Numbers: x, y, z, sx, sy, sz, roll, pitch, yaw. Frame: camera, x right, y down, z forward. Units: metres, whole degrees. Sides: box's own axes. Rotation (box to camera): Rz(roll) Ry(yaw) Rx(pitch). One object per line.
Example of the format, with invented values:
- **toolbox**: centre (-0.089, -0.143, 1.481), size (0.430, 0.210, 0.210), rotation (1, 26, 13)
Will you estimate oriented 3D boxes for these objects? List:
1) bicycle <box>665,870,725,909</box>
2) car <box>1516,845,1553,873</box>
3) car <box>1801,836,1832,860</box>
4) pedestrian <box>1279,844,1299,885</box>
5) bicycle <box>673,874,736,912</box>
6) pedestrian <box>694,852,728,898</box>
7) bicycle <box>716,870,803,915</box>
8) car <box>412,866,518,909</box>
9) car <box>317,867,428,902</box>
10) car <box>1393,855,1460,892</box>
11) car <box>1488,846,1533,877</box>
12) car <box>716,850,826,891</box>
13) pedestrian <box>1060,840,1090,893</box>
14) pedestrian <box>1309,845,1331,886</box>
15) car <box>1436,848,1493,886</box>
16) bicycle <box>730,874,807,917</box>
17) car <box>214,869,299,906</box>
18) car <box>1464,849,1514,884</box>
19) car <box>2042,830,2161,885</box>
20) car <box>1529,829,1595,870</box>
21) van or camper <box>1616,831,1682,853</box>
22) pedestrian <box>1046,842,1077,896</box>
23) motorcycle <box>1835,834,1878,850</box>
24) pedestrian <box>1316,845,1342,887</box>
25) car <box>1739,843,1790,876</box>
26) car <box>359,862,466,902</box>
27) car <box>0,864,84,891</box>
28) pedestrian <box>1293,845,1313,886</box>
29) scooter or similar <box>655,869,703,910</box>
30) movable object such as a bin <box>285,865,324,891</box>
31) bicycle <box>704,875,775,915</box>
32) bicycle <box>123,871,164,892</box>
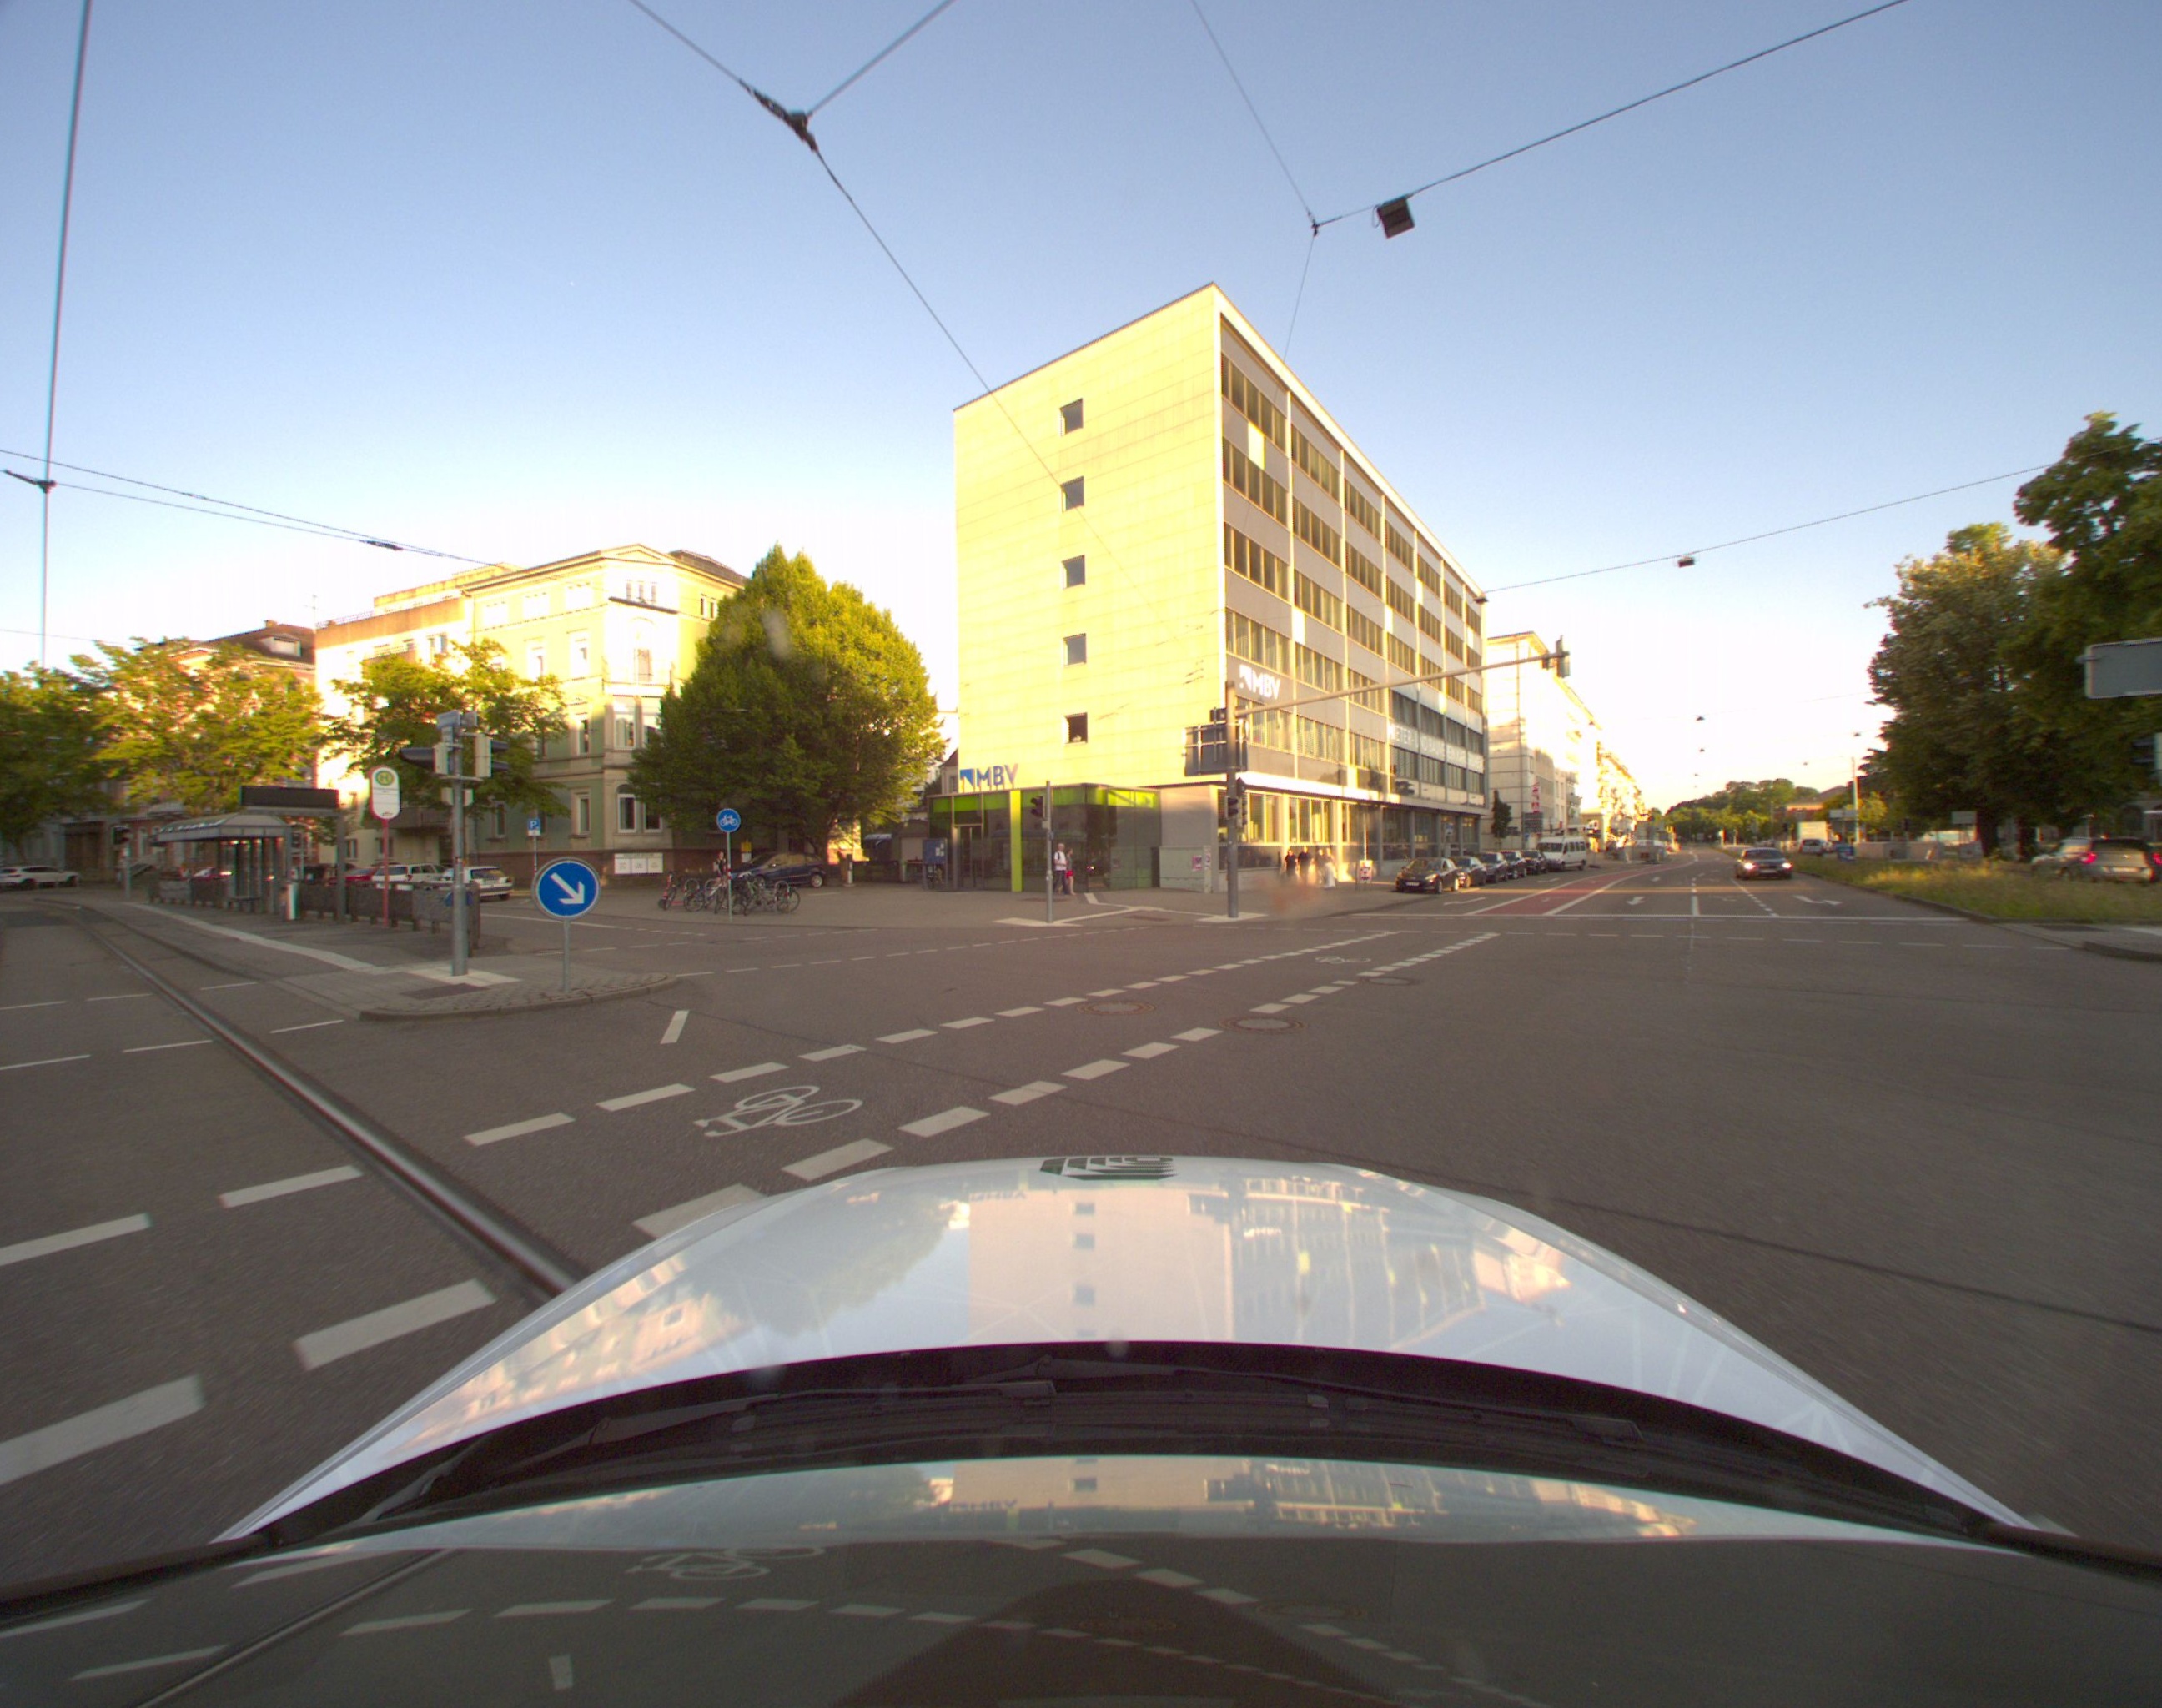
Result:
- **bicycle**: centre (-12.139, 1.097, 25.651), size (0.734, 1.163, 1.541), rotation (-1, 0, 39)
- **car**: centre (29.354, 0.278, 52.633), size (1.485, 1.664, 3.893), rotation (3, 3, 37)
- **car**: centre (69.358, -0.579, 76.813), size (1.865, 2.238, 3.935), rotation (-1, 0, 39)
- **pedestrian**: centre (9.071, 0.463, 35.497), size (0.646, 1.768, 0.650), rotation (-1, 0, 33)
- **bicycle**: centre (-11.486, 1.178, 24.889), size (0.734, 1.074, 1.566), rotation (-1, 0, 39)
- **pedestrian**: centre (-14.487, 0.810, 31.873), size (0.977, 1.768, 0.712), rotation (-1, 0, 22)
- **bicycle**: centre (-9.266, 1.091, 23.567), size (0.734, 1.132, 2.252), rotation (-1, 1, 39)
- **car**: centre (-24.770, 1.321, 32.746), size (3.950, 1.552, 1.696), rotation (-1, 3, 26)
- **car**: centre (-32.654, 1.376, 37.715), size (1.636, 1.454, 4.204), rotation (-1, 0, -4)
- **car**: centre (14.674, 0.815, 34.499), size (1.676, 1.411, 3.893), rotation (-2, -1, 37)
- **car**: centre (25.313, 0.422, 47.961), size (1.677, 1.664, 3.893), rotation (3, 3, 37)
- **car**: centre (-13.100, 0.641, 34.592), size (1.780, 1.574, 4.022), rotation (0, 1, 37)
- **pedestrian**: centre (-0.203, 0.423, 27.822), size (0.737, 1.768, 0.713), rotation (-1, 0, 38)
- **pedestrian**: centre (10.442, 0.491, 35.527), size (0.731, 1.768, 0.677), rotation (-1, 0, 33)
- **car**: centre (18.519, 0.574, 39.266), size (1.677, 1.664, 3.893), rotation (3, 3, 37)
- **bicycle**: centre (-8.684, 1.127, 22.654), size (1.874, 1.074, 0.736), rotation (-2, 0, -35)
- **car**: centre (-41.403, 1.666, 40.896), size (4.037, 1.631, 1.760), rotation (-1, 2, 27)
- **car**: centre (21.854, 0.620, 43.554), size (1.677, 1.664, 3.893), rotation (3, 3, 37)
- **car**: centre (32.258, 0.052, 25.853), size (1.677, 1.605, 4.115), rotation (1, 1, 42)
- **car**: centre (33.928, -0.329, 57.333), size (5.885, 2.628, 2.218), rotation (0, 4, -42)
- **van or camper**: centre (62.441, -1.299, 89.618), size (5.477, 2.167, 2.249), rotation (-2, -1, 7)
- **pedestrian**: centre (-0.650, 0.483, 27.252), size (0.726, 1.768, 0.713), rotation (-1, 0, 38)
- **motorcycle**: centre (88.672, -1.379, 93.177), size (3.453, 1.755, 0.931), rotation (-1, 0, 41)
- **pedestrian**: centre (10.490, 0.501, 34.466), size (0.832, 1.768, 0.791), rotation (-1, 0, 33)
- **car**: centre (31.672, 0.225, 37.761), size (1.677, 1.420, 4.200), rotation (-1, 0, 40)
- **car**: centre (-30.116, 1.214, 36.866), size (1.714, 1.725, 4.200), rotation (0, 0, -7)
- **car**: centre (-70.801, 1.559, 55.227), size (1.666, 1.627, 3.947), rotation (-2, 1, -6)
- **pedestrian**: centre (9.783, 0.515, 35.894), size (0.646, 1.768, 0.650), rotation (-1, 0, 33)
- **scooter or similar**: centre (-13.039, 1.140, 26.453), size (0.583, 1.225, 1.211), rotation (-1, 2, 38)
- **movable object such as a bin**: centre (-46.287, 1.445, 48.559), size (1.579, 1.502, 1.150), rotation (-1, 0, 23)
- **bicycle**: centre (-10.022, 1.173, 23.971), size (0.734, 1.074, 1.772), rotation (-1, 0, 39)
- **bicycle**: centre (-59.583, 1.738, 51.784), size (0.600, 1.266, 1.912), rotation (-1, 0, -10)
